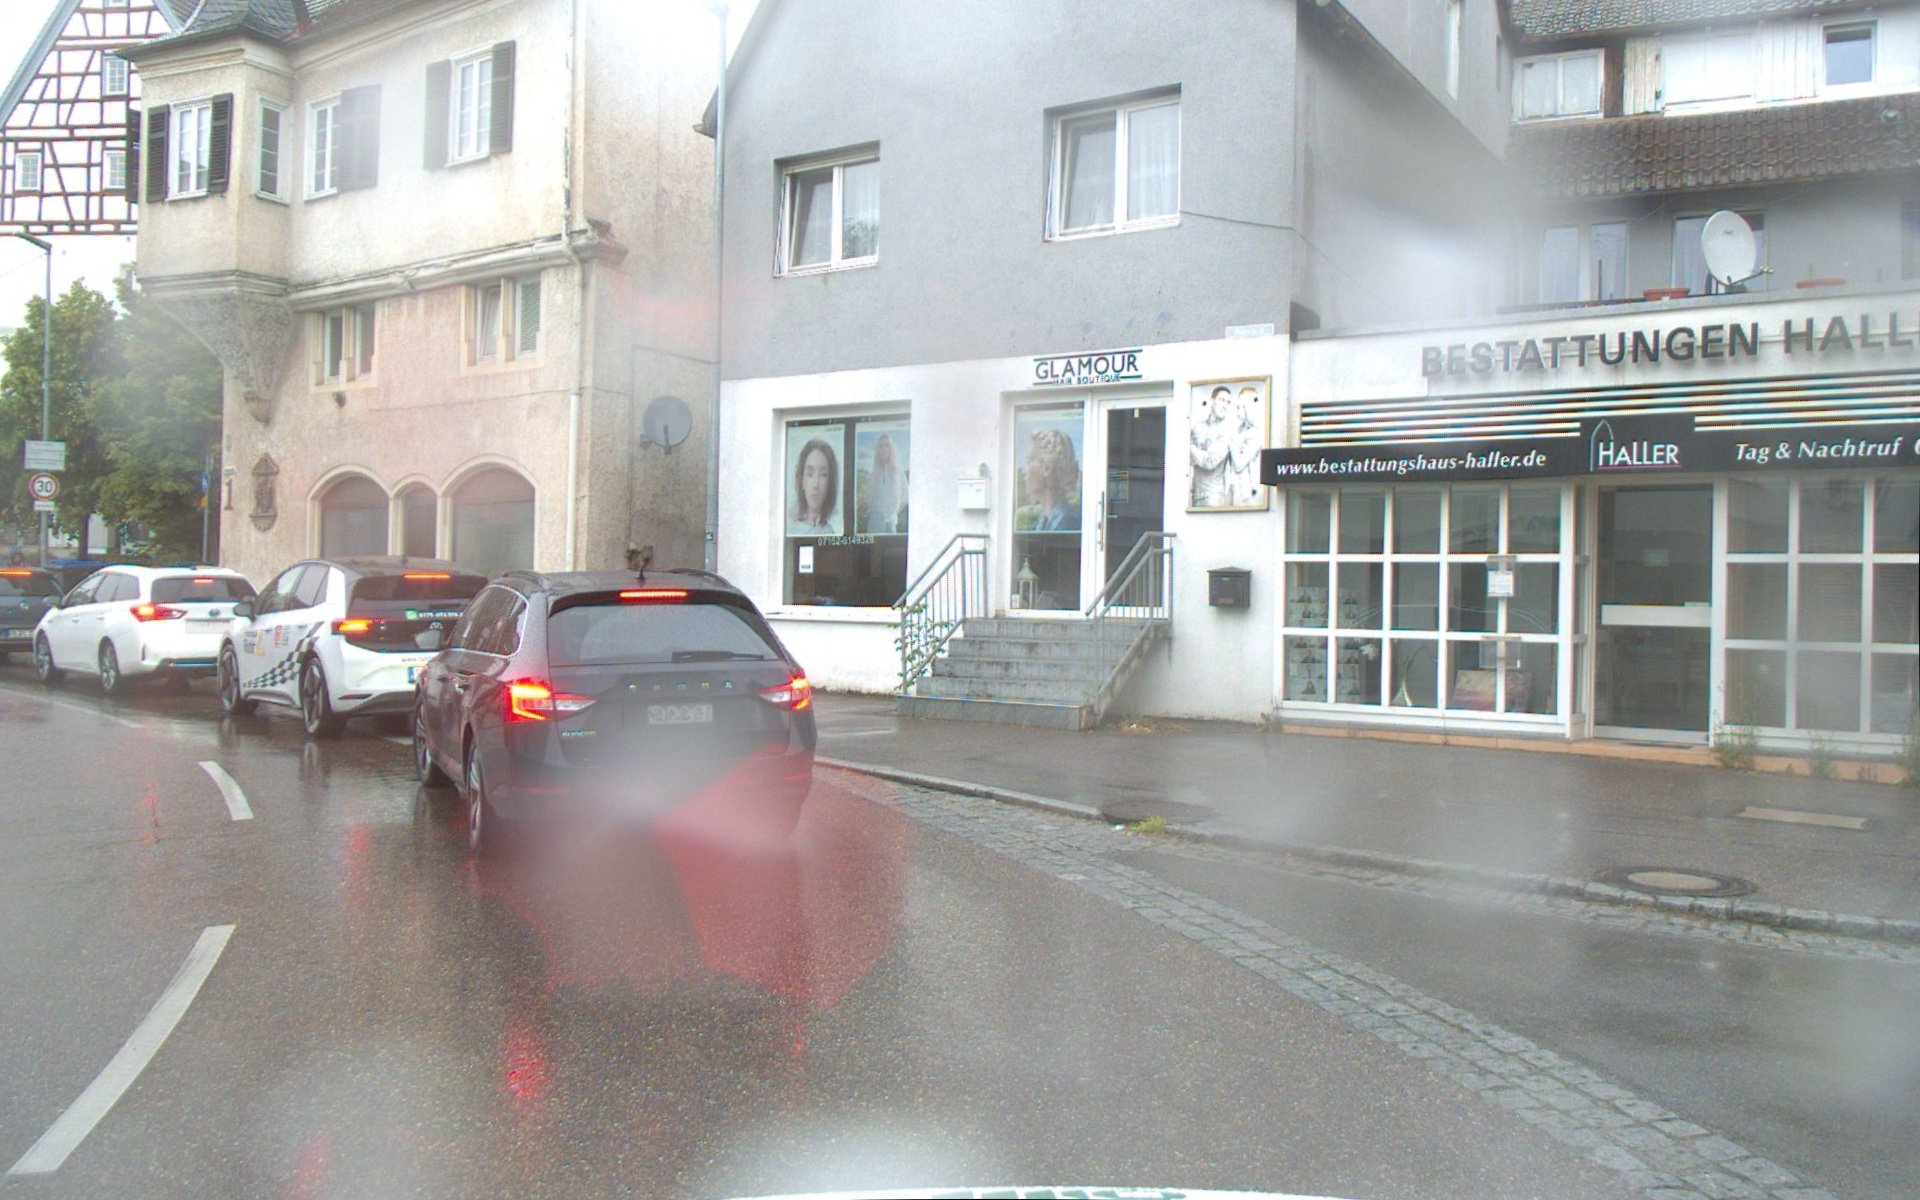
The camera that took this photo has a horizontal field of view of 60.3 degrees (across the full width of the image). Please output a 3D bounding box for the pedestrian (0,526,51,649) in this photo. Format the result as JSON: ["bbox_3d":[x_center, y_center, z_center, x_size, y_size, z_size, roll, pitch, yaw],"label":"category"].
[{"bbox_3d":[-18.526,-0.243,32.530,0.861,2.367,1.211,0,0,-43],"label":"pedestrian"}]

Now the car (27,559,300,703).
[{"bbox_3d":[-9.731,0.285,20.076,1.778,1.490,4.096,-1,3,-45],"label":"car"}]

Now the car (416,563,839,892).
[{"bbox_3d":[-2.206,0.544,9.949,1.709,1.475,4.212,0,2,-23],"label":"car"}]

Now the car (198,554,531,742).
[{"bbox_3d":[-5.784,0.351,15.769,1.777,1.543,4.183,-1,1,-38],"label":"car"}]

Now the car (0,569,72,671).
[{"bbox_3d":[-14.898,0.254,24.961,3.701,1.385,1.514,2,3,42],"label":"car"}]
